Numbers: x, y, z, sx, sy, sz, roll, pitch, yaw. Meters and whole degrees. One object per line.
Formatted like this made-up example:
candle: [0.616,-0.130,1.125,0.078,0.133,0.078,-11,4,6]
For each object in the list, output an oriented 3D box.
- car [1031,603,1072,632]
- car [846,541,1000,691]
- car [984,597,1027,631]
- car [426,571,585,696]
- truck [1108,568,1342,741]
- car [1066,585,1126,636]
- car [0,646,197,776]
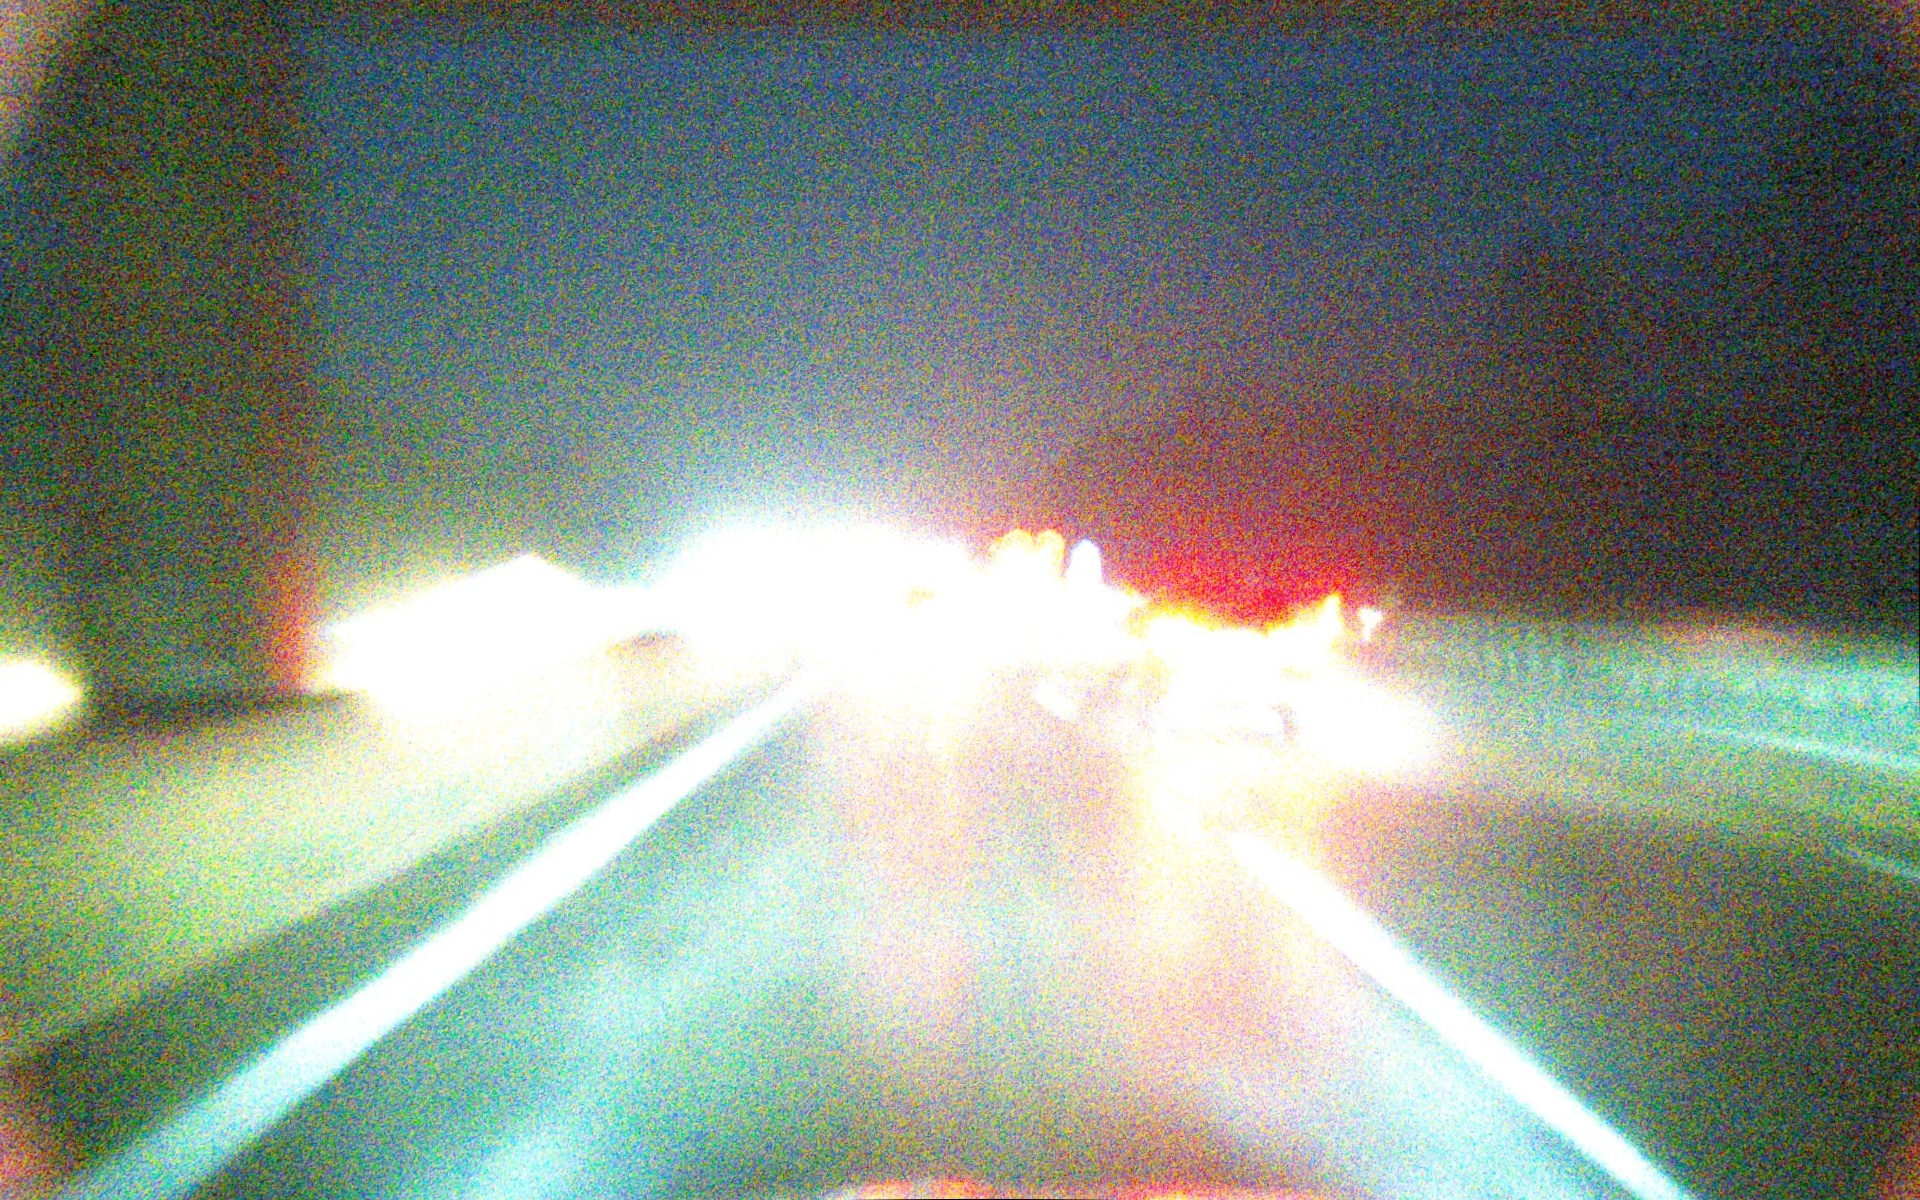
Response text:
car: [5.206,0.968,94.758,1.856,1.512,4.959,1,1,-3]
car: [-0.816,0.251,32.331,2.656,2.578,5.827,-2,1,-3]
car: [1.940,0.607,72.143,1.580,1.437,3.790,1,0,-3]
car: [-8.024,0.555,29.580,1.748,2.049,4.379,1,0,-2]
truck: [2.914,0.559,19.249,1.806,1.726,4.853,1,0,-1]
car: [5.852,0.420,71.775,2.005,2.008,5.406,-2,1,-1]
car: [-12.836,1.519,23.840,1.748,1.553,4.379,1,0,-2]
